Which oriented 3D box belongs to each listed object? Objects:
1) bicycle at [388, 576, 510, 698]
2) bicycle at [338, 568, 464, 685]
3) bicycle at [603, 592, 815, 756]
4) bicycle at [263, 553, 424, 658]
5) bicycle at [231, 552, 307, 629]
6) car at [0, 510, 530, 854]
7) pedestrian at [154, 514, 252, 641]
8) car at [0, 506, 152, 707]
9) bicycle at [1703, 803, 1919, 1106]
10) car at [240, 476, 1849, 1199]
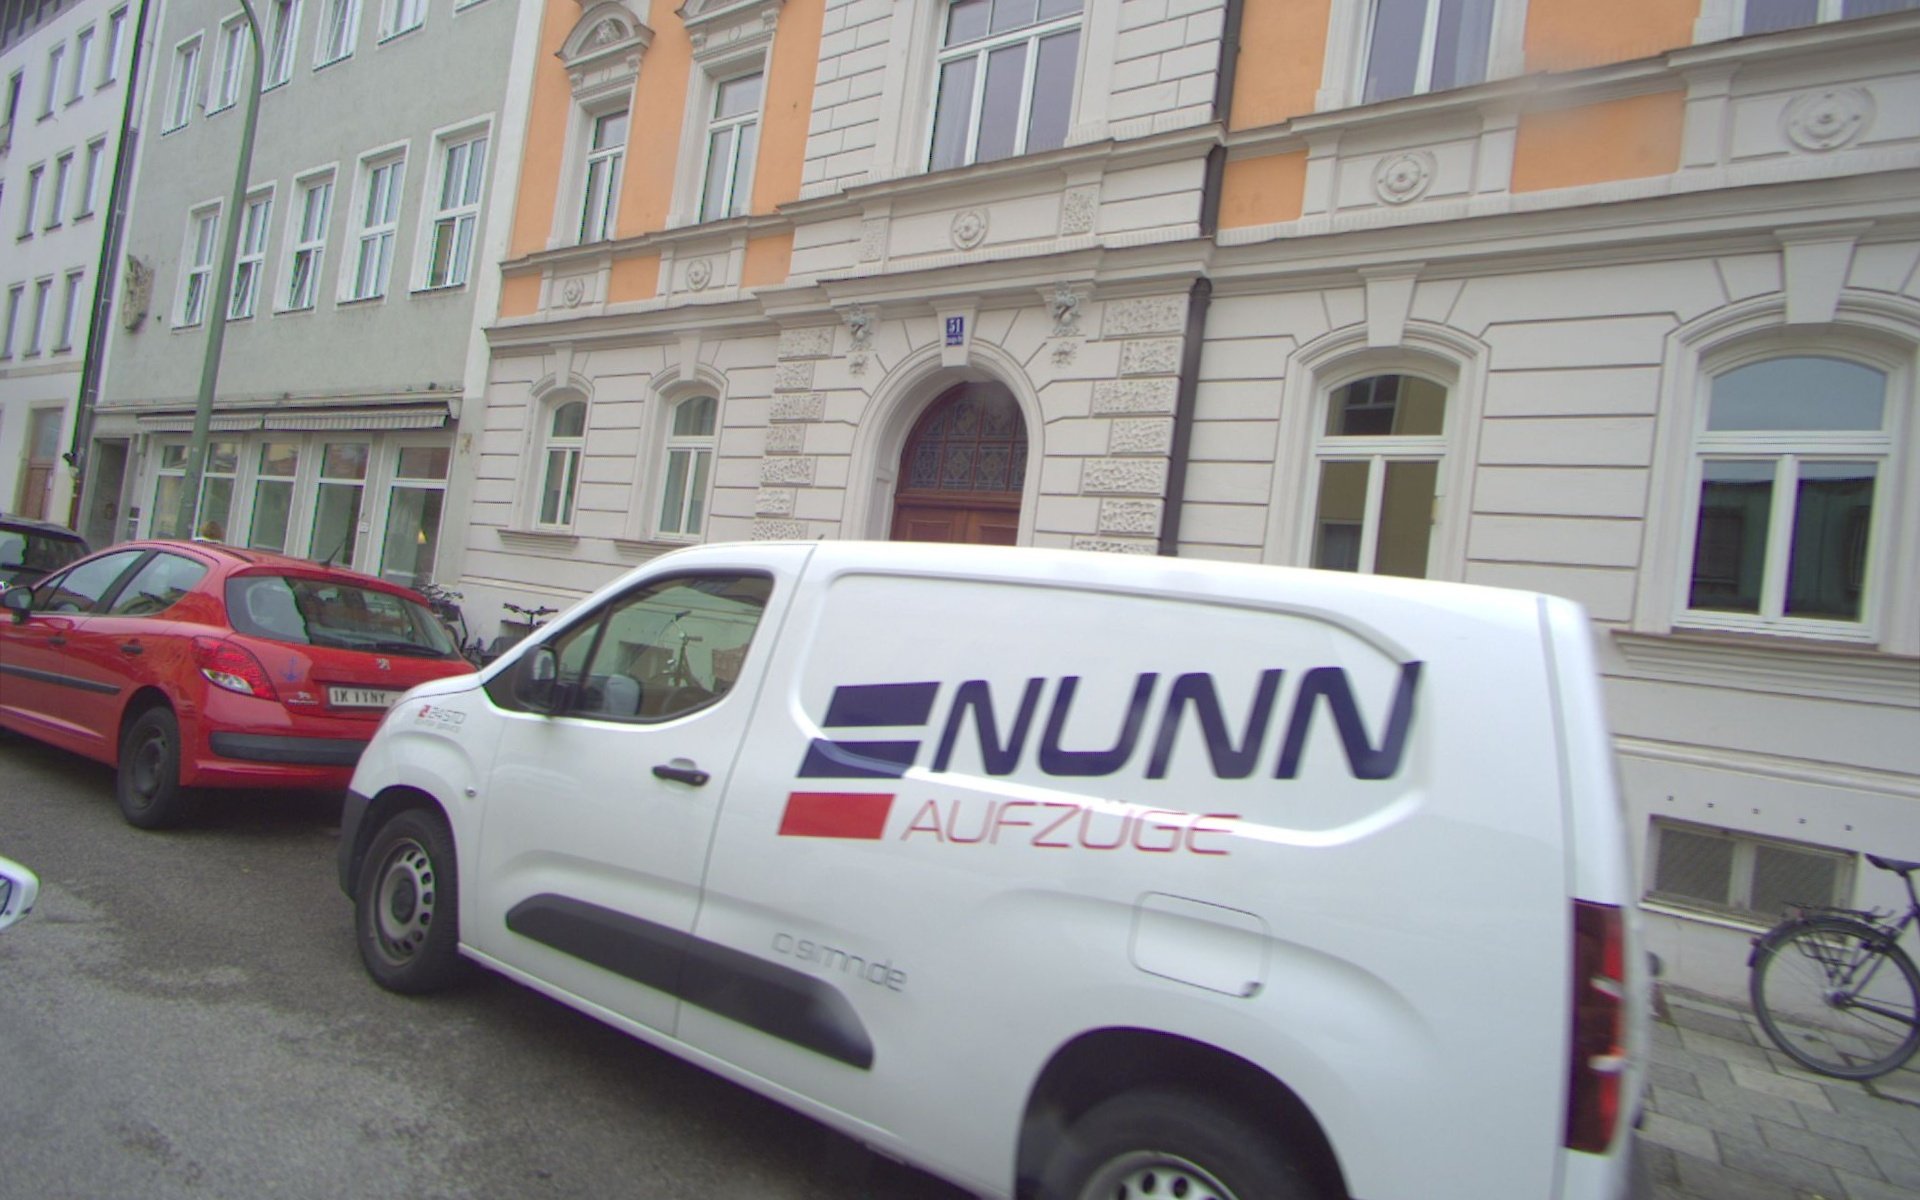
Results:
[{"bbox_3d":[-5.752,0.391,11.457,0.599,1.197,2.091,8,-1,-13],"label":"bicycle"},{"bbox_3d":[-6.541,0.289,11.899,0.599,1.197,2.091,8,-1,-13],"label":"bicycle"},{"bbox_3d":[-2.432,0.669,9.600,2.062,1.198,0.651,9,1,35],"label":"bicycle"},{"bbox_3d":[-8.293,0.055,13.483,2.418,1.087,0.770,7,-1,33],"label":"bicycle"},{"bbox_3d":[-10.594,-0.155,15.409,1.497,1.016,0.331,7,0,33],"label":"bicycle"},{"bbox_3d":[-4.935,0.368,6.513,4.229,1.466,1.604,7,-4,31],"label":"car"},{"bbox_3d":[-10.612,-0.313,14.114,0.814,1.645,0.735,7,0,33],"label":"pedestrian"},{"bbox_3d":[-8.934,-0.154,8.737,4.017,1.466,1.697,6,-4,34],"label":"car"},{"bbox_3d":[4.625,1.680,4.485,1.921,1.134,0.669,7,-2,26],"label":"bicycle"},{"bbox_3d":[-0.299,0.749,3.594,4.815,1.804,1.846,7,-4,33],"label":"car"}]
